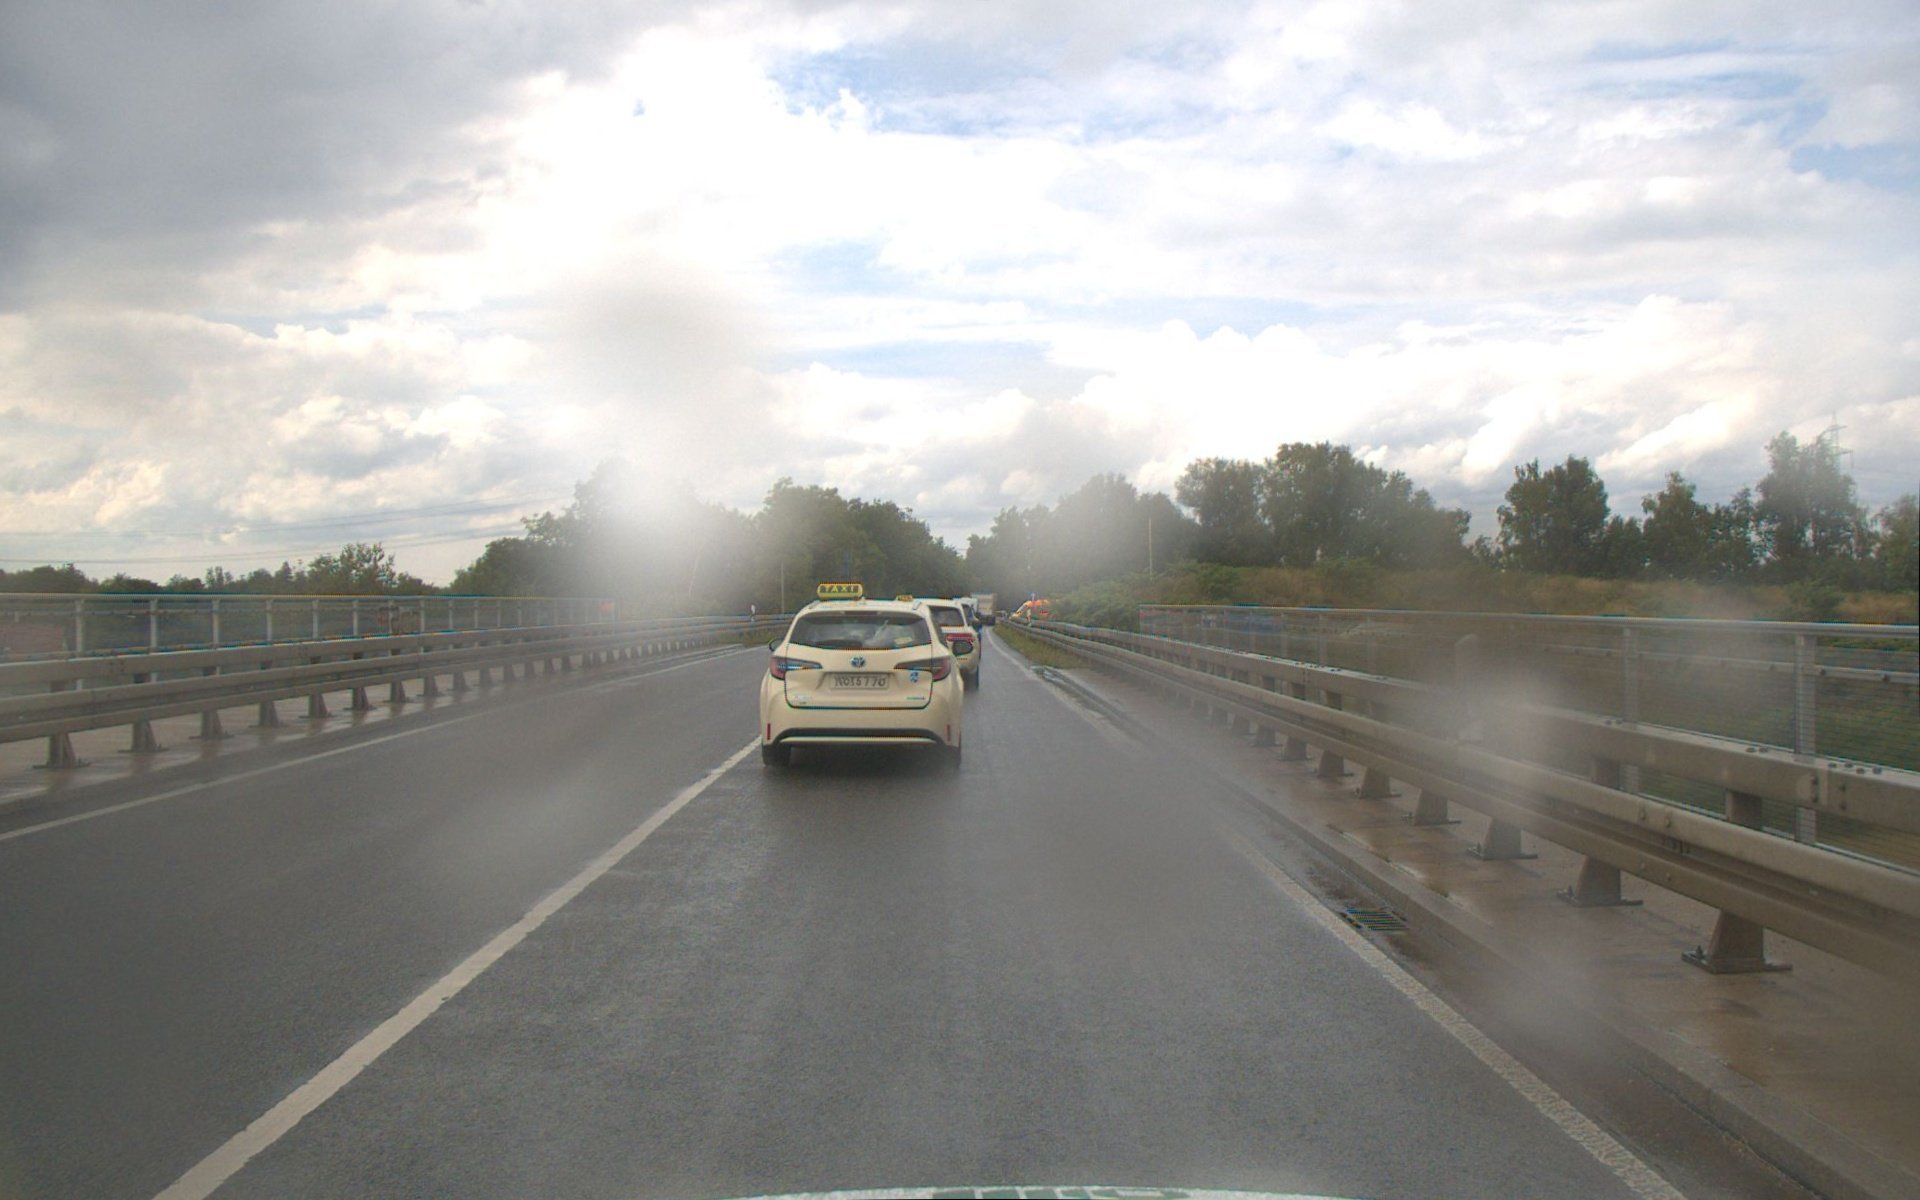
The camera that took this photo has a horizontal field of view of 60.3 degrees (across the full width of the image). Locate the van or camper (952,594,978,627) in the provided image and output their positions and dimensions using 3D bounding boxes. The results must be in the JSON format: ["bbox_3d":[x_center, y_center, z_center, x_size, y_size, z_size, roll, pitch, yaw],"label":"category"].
[{"bbox_3d":[0.526,0.962,153.134,2.284,2.914,6.307,1,0,1],"label":"van or camper"}]

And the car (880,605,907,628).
[{"bbox_3d":[-4.471,1.128,111.525,1.679,1.543,3.858,1,-1,-1],"label":"car"}]

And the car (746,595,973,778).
[{"bbox_3d":[-0.835,0.695,15.486,1.816,1.418,4.170,1,1,-1],"label":"car"}]

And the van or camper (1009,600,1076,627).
[{"bbox_3d":[7.300,1.162,146.609,5.584,2.281,2.012,1,0,-15],"label":"van or camper"}]

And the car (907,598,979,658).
[{"bbox_3d":[-0.448,0.709,44.224,1.816,1.468,4.170,1,1,-1],"label":"car"}]

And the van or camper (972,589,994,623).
[{"bbox_3d":[2.560,0.652,182.802,2.284,3.625,6.307,1,0,1],"label":"van or camper"}]

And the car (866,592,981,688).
[{"bbox_3d":[-0.599,0.630,28.560,1.816,1.468,4.170,1,1,-1],"label":"car"}]
